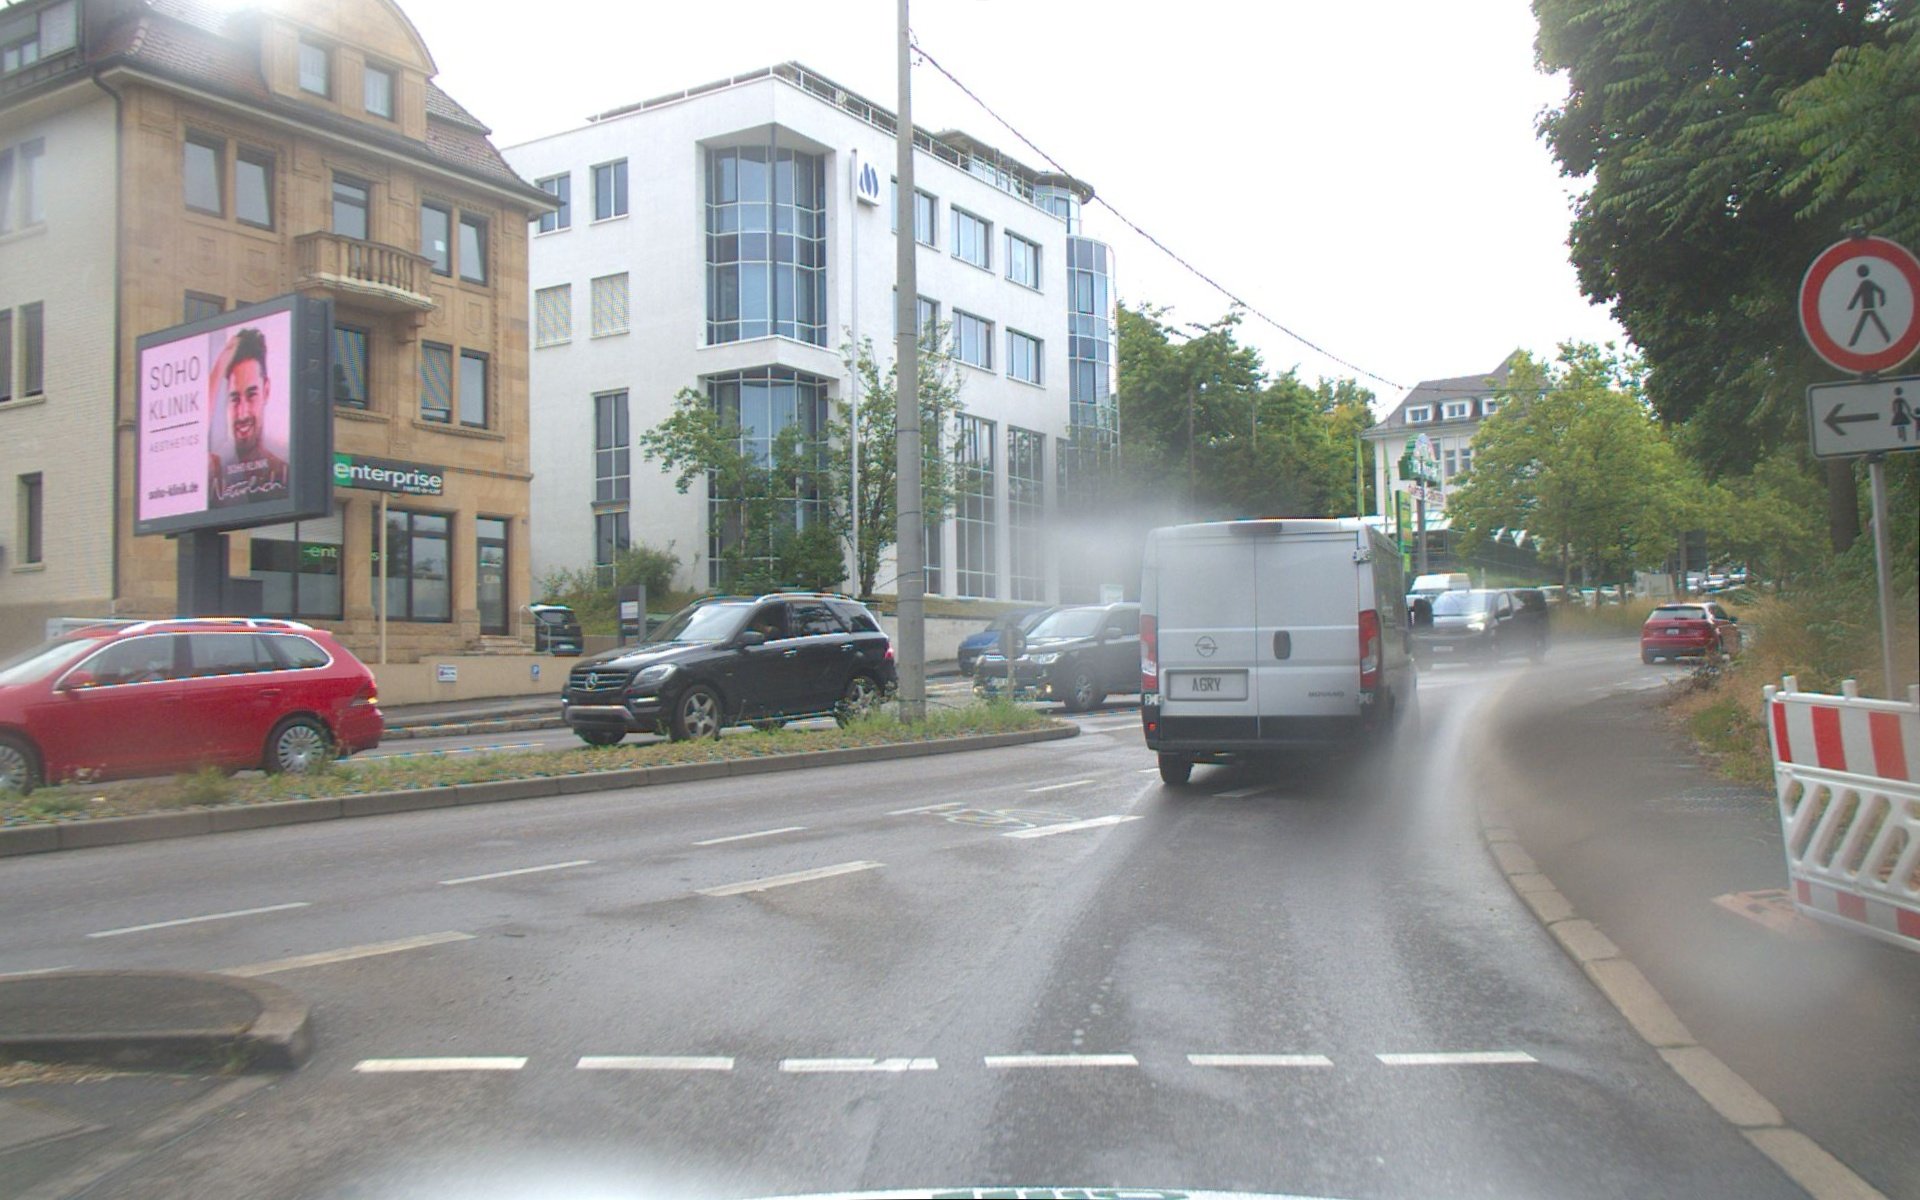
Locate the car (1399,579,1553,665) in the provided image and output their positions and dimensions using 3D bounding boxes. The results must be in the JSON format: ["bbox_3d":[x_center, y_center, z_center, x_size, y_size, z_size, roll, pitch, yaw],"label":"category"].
[{"bbox_3d":[12.544,0.500,40.021,1.981,1.899,5.022,-3,-2,36],"label":"car"}]

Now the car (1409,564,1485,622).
[{"bbox_3d":[22.606,-0.369,76.639,1.927,2.486,5.643,-3,-1,31],"label":"car"}]

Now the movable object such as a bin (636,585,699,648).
[{"bbox_3d":[-7.466,0.428,42.248,1.221,1.568,1.038,-2,-2,31],"label":"movable object such as a bin"}]

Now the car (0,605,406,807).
[{"bbox_3d":[-7.283,0.907,14.511,1.776,1.558,4.424,-3,-4,36],"label":"car"}]

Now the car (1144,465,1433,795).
[{"bbox_3d":[3.259,0.187,15.526,2.007,2.560,4.945,1,1,18],"label":"car"}]

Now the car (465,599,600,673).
[{"bbox_3d":[-10.682,0.929,41.339,2.987,1.705,1.711,-3,-4,32],"label":"car"}]

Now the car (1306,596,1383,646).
[{"bbox_3d":[14.667,0.768,62.957,1.564,1.725,3.770,-3,-1,34],"label":"car"}]

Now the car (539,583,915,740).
[{"bbox_3d":[-2.765,0.722,20.608,1.923,1.727,4.606,-3,-2,37],"label":"car"}]

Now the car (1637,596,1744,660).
[{"bbox_3d":[17.482,0.694,39.514,1.665,1.451,3.354,-2,-3,36],"label":"car"}]

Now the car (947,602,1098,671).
[{"bbox_3d":[1.688,0.918,42.865,1.658,1.561,4.658,-3,-1,34],"label":"car"}]

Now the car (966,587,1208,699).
[{"bbox_3d":[2.147,0.738,26.678,1.660,1.633,4.710,-3,-4,36],"label":"car"}]
